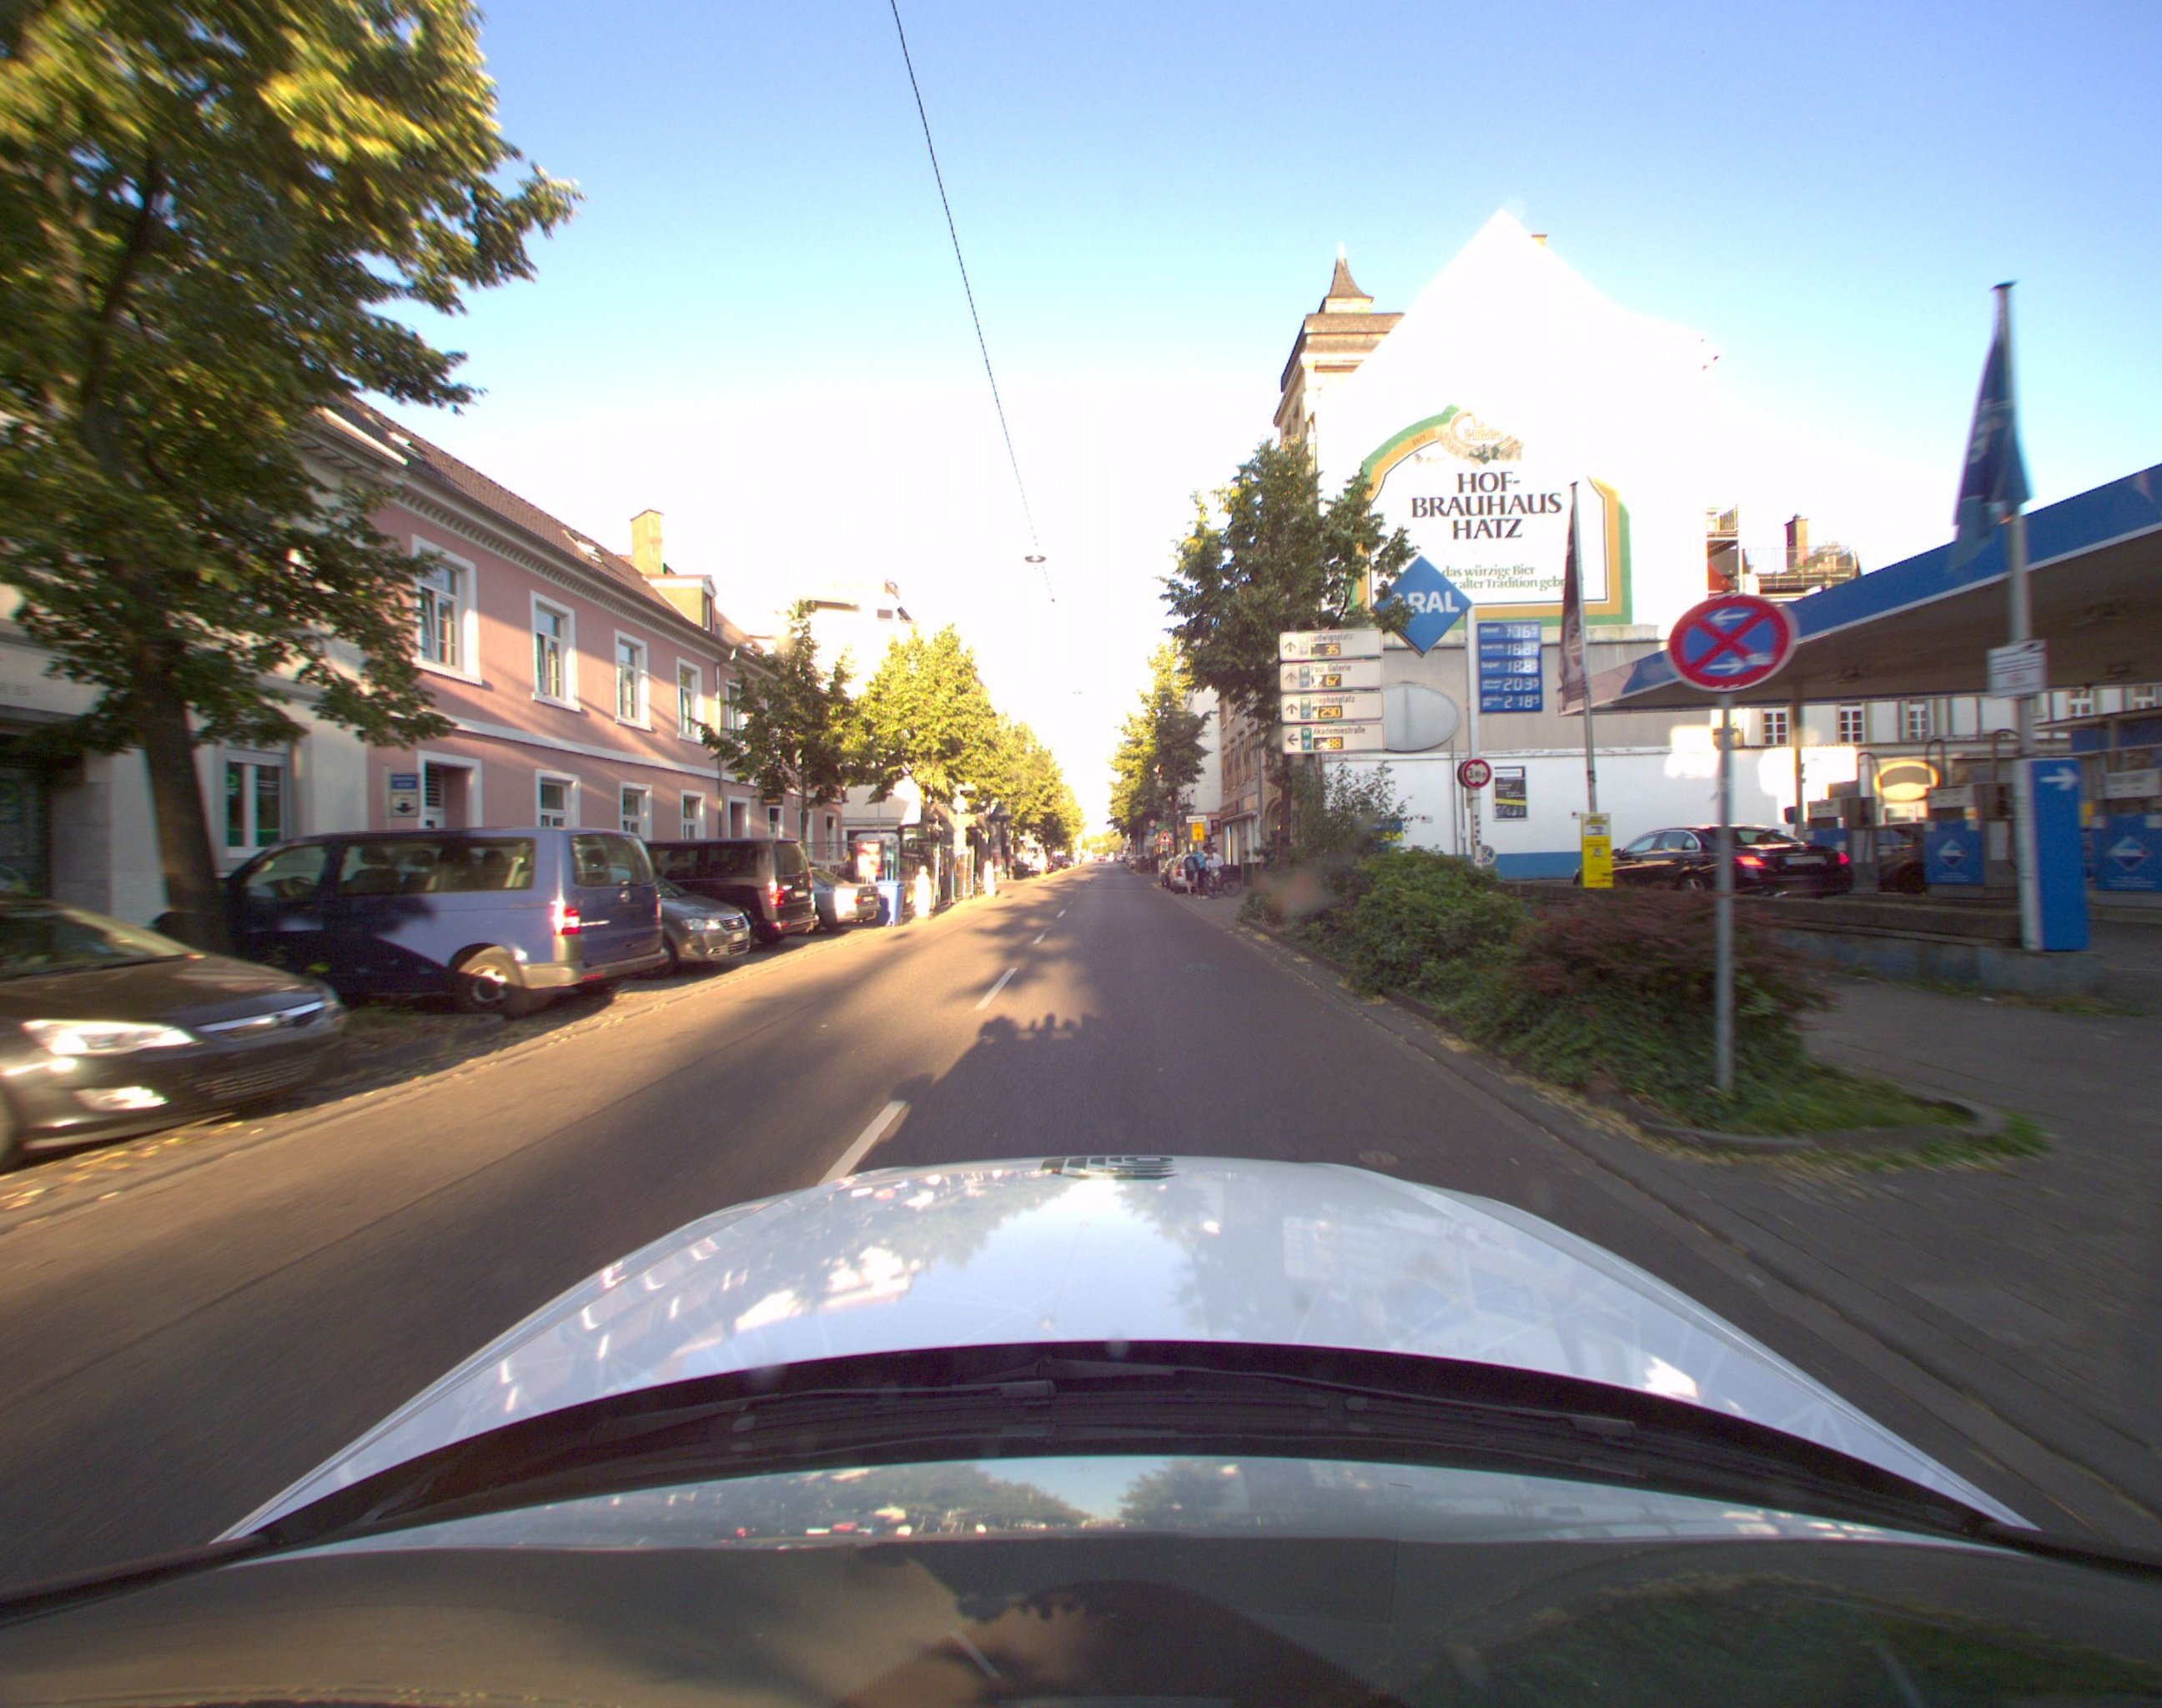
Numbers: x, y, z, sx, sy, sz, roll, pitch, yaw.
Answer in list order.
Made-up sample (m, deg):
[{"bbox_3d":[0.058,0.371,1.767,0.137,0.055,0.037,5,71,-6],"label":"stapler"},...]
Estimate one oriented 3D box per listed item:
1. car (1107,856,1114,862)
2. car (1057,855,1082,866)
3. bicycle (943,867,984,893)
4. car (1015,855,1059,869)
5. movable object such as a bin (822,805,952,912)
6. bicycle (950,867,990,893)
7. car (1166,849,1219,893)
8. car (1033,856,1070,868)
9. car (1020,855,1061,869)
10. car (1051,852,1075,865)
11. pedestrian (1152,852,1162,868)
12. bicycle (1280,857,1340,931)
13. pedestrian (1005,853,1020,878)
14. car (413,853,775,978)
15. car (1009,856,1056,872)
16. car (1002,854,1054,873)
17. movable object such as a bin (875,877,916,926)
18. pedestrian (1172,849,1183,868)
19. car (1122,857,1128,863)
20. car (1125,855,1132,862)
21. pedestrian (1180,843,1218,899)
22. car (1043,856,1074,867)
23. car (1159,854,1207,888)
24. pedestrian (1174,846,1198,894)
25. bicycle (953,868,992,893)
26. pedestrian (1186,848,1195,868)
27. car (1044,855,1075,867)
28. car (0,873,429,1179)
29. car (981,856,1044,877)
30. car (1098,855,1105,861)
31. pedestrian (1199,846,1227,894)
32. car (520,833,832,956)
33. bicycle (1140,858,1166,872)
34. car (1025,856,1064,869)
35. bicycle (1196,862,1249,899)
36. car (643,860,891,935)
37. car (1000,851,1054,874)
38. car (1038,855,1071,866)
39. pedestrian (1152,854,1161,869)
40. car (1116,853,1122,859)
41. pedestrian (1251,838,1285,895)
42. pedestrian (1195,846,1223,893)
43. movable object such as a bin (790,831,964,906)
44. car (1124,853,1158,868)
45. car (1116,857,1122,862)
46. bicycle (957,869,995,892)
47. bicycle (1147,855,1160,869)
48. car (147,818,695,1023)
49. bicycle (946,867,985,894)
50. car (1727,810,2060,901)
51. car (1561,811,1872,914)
[{"bbox_3d":[7.962,1.261,218.069,1.714,1.475,3.306,-2,-1,3],"label":"car"},{"bbox_3d":[-2.093,1.185,147.989,4.425,1.959,1.920,-1,0,2],"label":"car"},{"bbox_3d":[-5.104,1.140,35.479,1.676,1.079,0.444,1,-1,1],"label":"bicycle"},{"bbox_3d":[-4.673,0.869,86.604,4.425,1.458,1.860,-1,0,2],"label":"car"},{"bbox_3d":[-5.907,0.119,25.721,2.615,2.969,5.305,-1,0,2],"label":"movable object such as a bin"},{"bbox_3d":[-4.924,1.153,36.066,1.672,1.079,0.445,1,-1,9],"label":"bicycle"},{"bbox_3d":[4.572,0.661,33.832,1.680,1.575,4.015,-4,0,2],"label":"car"},{"bbox_3d":[-3.714,0.952,102.814,4.425,1.448,1.920,-1,0,2],"label":"car"},{"bbox_3d":[-4.553,0.902,91.592,4.425,1.568,1.920,-1,0,2],"label":"car"},{"bbox_3d":[-3.474,0.914,157.675,4.425,2.435,1.920,-1,-1,2],"label":"car"},{"bbox_3d":[8.950,0.675,96.025,0.916,1.926,1.015,0,0,-8],"label":"pedestrian"},{"bbox_3d":[4.026,0.672,14.251,0.478,1.143,1.691,-4,0,32],"label":"bicycle"},{"bbox_3d":[-4.567,0.767,54.333,0.706,1.686,0.836,-1,0,11],"label":"pedestrian"},{"bbox_3d":[-6.861,0.824,11.795,4.113,1.637,1.861,0,0,2],"label":"car"},{"bbox_3d":[-4.736,0.941,79.724,4.425,1.506,1.846,-1,0,2],"label":"car"},{"bbox_3d":[-4.827,0.888,74.576,4.553,1.698,2.061,-1,0,2],"label":"car"},{"bbox_3d":[-4.447,1.129,19.528,0.687,1.105,0.884,-2,0,4],"label":"movable object such as a bin"},{"bbox_3d":[8.462,0.421,71.548,0.791,1.625,0.915,-1,0,14],"label":"pedestrian"},{"bbox_3d":[10.132,1.426,188.022,1.507,1.263,3.306,-1,-1,3],"label":"car"},{"bbox_3d":[9.892,0.960,169.850,1.507,1.276,3.306,-1,-1,3],"label":"car"},{"bbox_3d":[4.031,0.563,27.933,1.013,1.825,0.778,-4,0,-8],"label":"pedestrian"},{"bbox_3d":[-3.248,1.045,118.086,4.287,1.598,1.920,-1,0,2],"label":"car"},{"bbox_3d":[4.728,0.750,38.305,1.778,1.375,4.525,-4,0,2],"label":"car"},{"bbox_3d":[3.964,0.600,30.801,0.677,1.754,0.823,-2,-1,-9],"label":"pedestrian"},{"bbox_3d":[-4.878,1.170,36.652,1.672,1.079,0.445,1,-1,9],"label":"bicycle"},{"bbox_3d":[8.803,0.327,65.346,0.565,1.599,0.664,-3,1,2],"label":"pedestrian"},{"bbox_3d":[-3.093,0.983,120.187,4.425,1.759,1.920,-1,0,2],"label":"car"},{"bbox_3d":[-6.952,0.914,4.978,4.316,1.501,1.840,0,0,-4],"label":"car"},{"bbox_3d":[-5.153,0.932,61.478,4.530,1.541,1.811,-1,0,0],"label":"car"},{"bbox_3d":[5.825,1.163,228.045,1.745,1.540,3.306,-2,-1,3],"label":"car"},{"bbox_3d":[4.889,0.591,30.233,0.657,1.700,0.660,-4,0,-42],"label":"pedestrian"},{"bbox_3d":[-6.937,0.661,14.330,4.469,1.976,1.965,0,0,-1],"label":"car"},{"bbox_3d":[5.774,0.914,65.492,1.935,1.074,0.710,-1,0,33],"label":"bicycle"},{"bbox_3d":[-4.314,0.994,96.303,4.425,1.568,1.920,-1,0,2],"label":"car"},{"bbox_3d":[4.872,0.890,27.890,0.856,1.098,1.939,-3,0,41],"label":"bicycle"},{"bbox_3d":[-6.653,0.901,17.561,4.573,1.470,1.895,-1,0,4],"label":"car"},{"bbox_3d":[-4.784,0.749,71.955,4.554,1.962,1.991,-1,0,1],"label":"car"},{"bbox_3d":[-3.657,0.916,113.695,4.425,1.523,1.920,-1,0,2],"label":"car"},{"bbox_3d":[6.789,0.672,73.569,0.723,1.378,0.781,-1,0,2],"label":"pedestrian"},{"bbox_3d":[10.368,0.637,222.200,1.745,1.540,3.306,-2,-1,3],"label":"car"},{"bbox_3d":[6.366,0.418,27.785,0.820,1.854,1.097,-4,0,0],"label":"pedestrian"},{"bbox_3d":[4.854,0.585,30.943,0.678,1.706,0.821,-4,0,-13],"label":"pedestrian"},{"bbox_3d":[-7.337,0.449,29.819,2.285,2.495,5.788,-1,0,45],"label":"movable object such as a bin"},{"bbox_3d":[6.644,0.690,90.287,1.654,1.588,3.846,-1,0,45],"label":"car"},{"bbox_3d":[9.909,1.341,210.725,1.507,1.298,3.306,-1,-1,3],"label":"car"},{"bbox_3d":[-4.814,1.211,37.374,1.672,1.021,0.445,1,-1,9],"label":"bicycle"},{"bbox_3d":[5.967,0.650,66.951,0.592,1.178,1.856,-1,0,21],"label":"bicycle"},{"bbox_3d":[-7.079,0.663,9.132,4.465,1.976,2.070,-1,0,2],"label":"car"},{"bbox_3d":[-4.890,1.109,34.582,1.554,1.116,0.440,2,-2,-31],"label":"bicycle"},{"bbox_3d":[15.100,0.065,15.633,1.704,1.402,4.761,-3,-1,2],"label":"car"},{"bbox_3d":[10.741,0.164,14.380,1.728,1.431,4.910,-3,-1,2],"label":"car"}]
